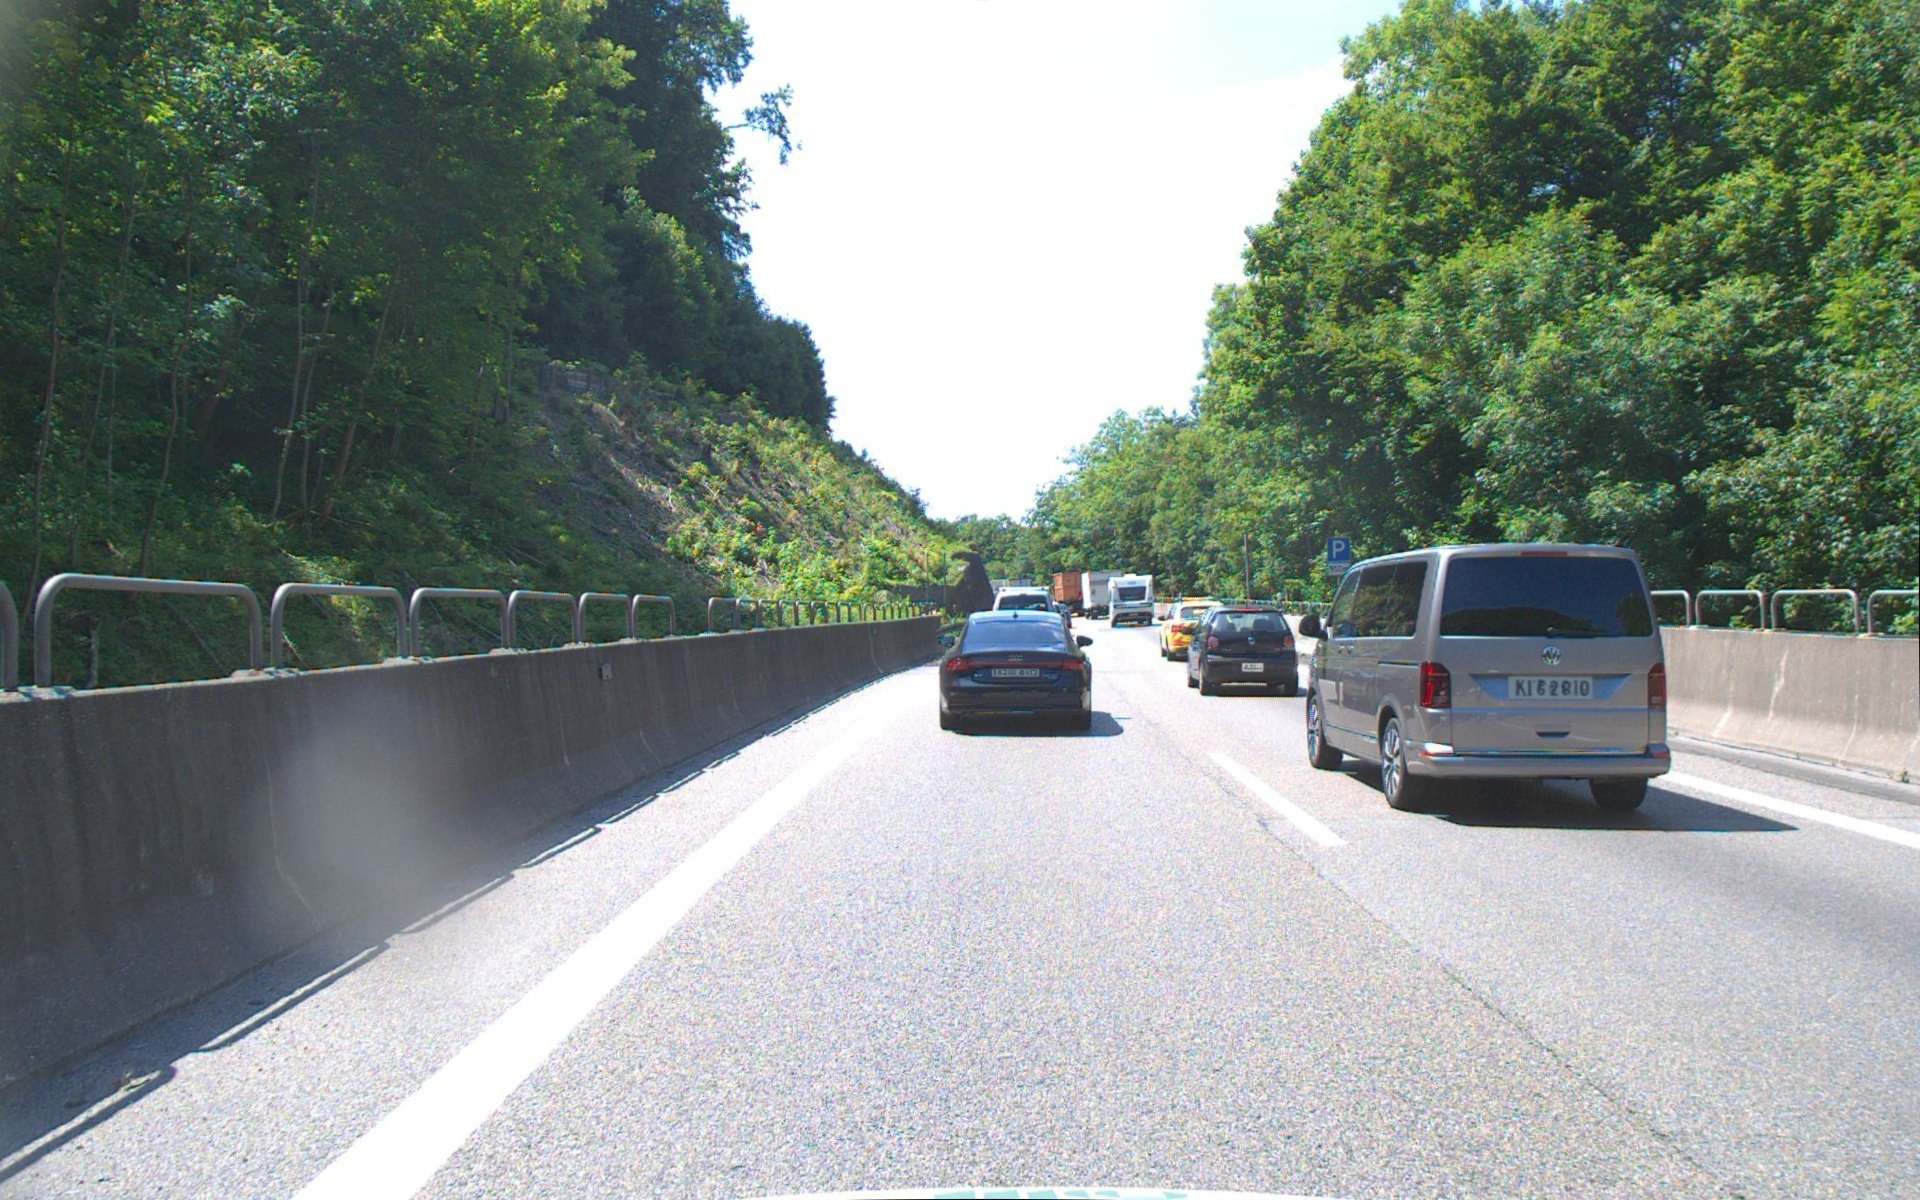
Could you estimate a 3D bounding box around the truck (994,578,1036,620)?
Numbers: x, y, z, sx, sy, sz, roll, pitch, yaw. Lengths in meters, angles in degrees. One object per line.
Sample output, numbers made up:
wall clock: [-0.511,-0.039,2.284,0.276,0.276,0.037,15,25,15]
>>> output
truck: [6.186,-0.093,186.745,3.639,4.583,7.712,0,0,-7]

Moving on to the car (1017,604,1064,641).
car: [3.588,0.993,74.193,1.856,1.612,3.770,0,0,-1]

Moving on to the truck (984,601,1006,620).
truck: [3.628,1.106,173.970,1.954,2.049,3.997,0,0,-4]

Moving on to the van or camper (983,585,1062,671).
van or camper: [1.511,0.658,40.274,1.815,1.976,4.166,0,0,2]

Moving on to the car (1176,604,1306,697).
car: [4.759,0.812,28.492,1.650,1.484,4.001,0,0,1]

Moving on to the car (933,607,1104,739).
car: [0.641,0.845,21.217,1.866,1.515,4.377,0,0,-2]

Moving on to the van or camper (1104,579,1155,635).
van or camper: [9.163,0.388,89.742,2.549,2.905,6.338,0,0,4]

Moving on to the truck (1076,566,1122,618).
truck: [10.509,-0.580,125.818,2.865,3.752,7.723,0,0,0]

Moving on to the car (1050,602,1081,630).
car: [6.099,0.893,96.125,1.714,1.598,3.772,0,0,2]

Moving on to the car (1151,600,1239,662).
car: [5.961,0.771,42.282,1.771,1.503,4.082,0,0,1]

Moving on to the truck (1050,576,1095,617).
truck: [9.930,-0.267,146.708,3.100,3.529,8.218,0,0,-2]

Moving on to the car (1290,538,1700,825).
car: [4.132,0.566,13.672,1.901,1.965,4.694,0,0,0]
